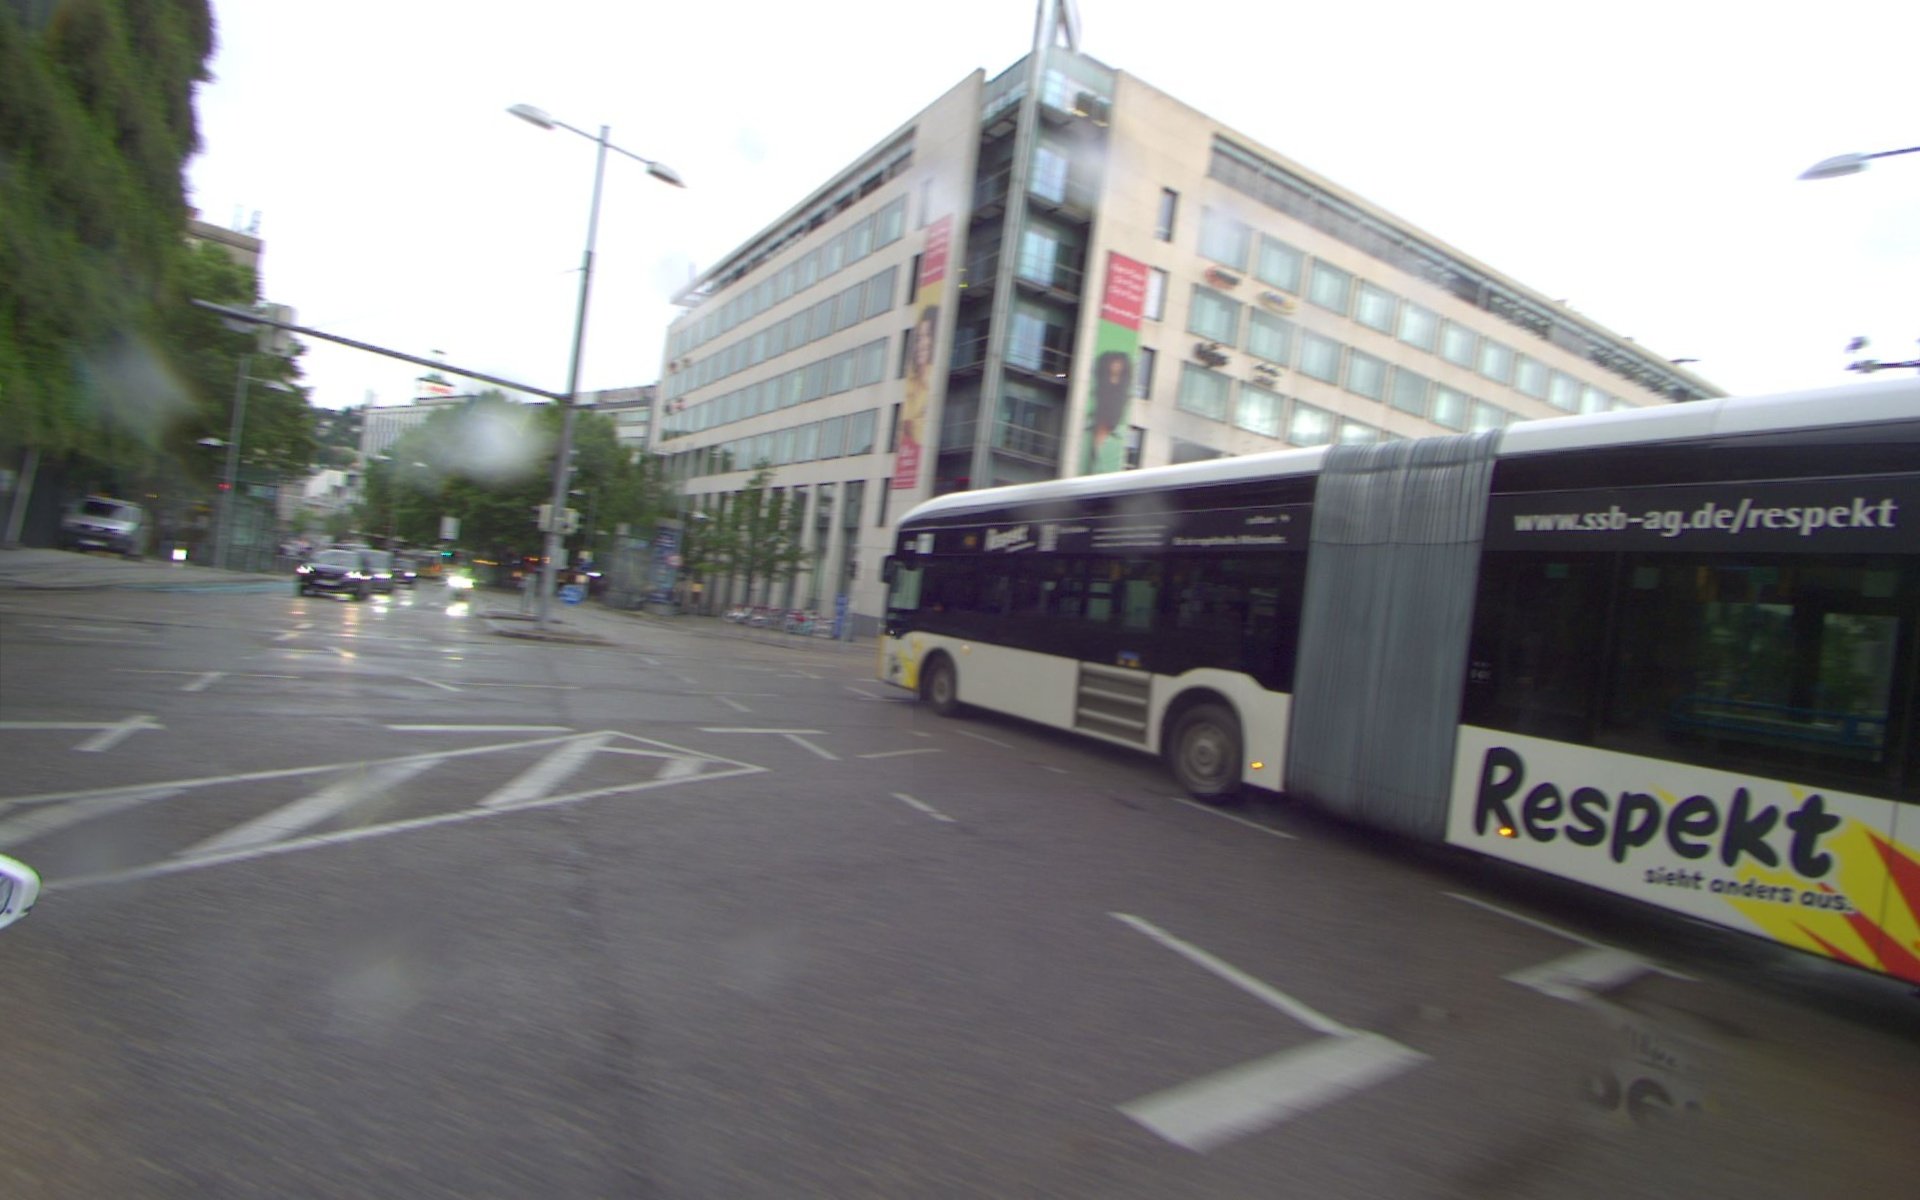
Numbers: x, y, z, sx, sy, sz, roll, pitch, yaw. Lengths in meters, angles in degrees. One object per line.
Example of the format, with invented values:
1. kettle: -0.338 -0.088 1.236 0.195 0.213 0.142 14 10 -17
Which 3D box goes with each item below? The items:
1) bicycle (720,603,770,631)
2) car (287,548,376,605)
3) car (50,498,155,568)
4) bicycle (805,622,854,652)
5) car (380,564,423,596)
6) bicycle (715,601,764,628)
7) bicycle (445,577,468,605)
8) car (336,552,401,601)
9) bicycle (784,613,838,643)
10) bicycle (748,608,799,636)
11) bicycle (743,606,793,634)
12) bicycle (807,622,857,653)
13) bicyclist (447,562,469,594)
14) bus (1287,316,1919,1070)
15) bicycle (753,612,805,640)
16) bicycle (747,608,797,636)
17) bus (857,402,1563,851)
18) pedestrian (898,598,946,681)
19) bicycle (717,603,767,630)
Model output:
1. bicycle: -10.758 0.861 50.307 2.322 1.111 0.486 8 -1 -29
2. car: -19.979 -0.716 32.122 1.805 1.516 4.179 7 -2 -25
3. car: -29.950 -2.304 35.306 2.100 1.979 4.826 8 -1 -34
4. bicycle: -5.715 1.621 44.003 1.971 1.111 0.488 7 -1 -16
5. car: -33.512 -1.196 60.438 1.805 1.655 4.472 7 -2 -25
6. bicycle: -11.329 0.728 51.697 2.322 1.111 0.486 8 -1 -29
7. bicycle: -23.315 -0.421 46.584 0.799 1.149 2.077 7 -2 -27
8. car: -25.365 -0.984 43.287 1.805 1.779 4.749 7 -2 -25
9. bicycle: -6.830 1.270 46.186 2.322 1.111 0.486 8 -1 -29
10. bicycle: -9.129 1.084 49.212 2.322 1.111 0.486 8 -1 -29
11. bicycle: -9.612 1.015 50.342 2.322 1.111 0.486 8 -1 -29
12. bicycle: -5.533 1.629 43.480 1.974 1.111 0.488 7 -1 -16
13. bicyclist: -23.233 -1.010 46.556 0.786 1.352 0.738 6 -1 -28
14. bus: 5.867 0.560 5.364 2.655 3.631 8.037 7 -1 -27
15. bicycle: -8.680 1.261 48.365 2.322 1.111 0.486 8 -1 -29
16. bicycle: -9.290 1.088 49.844 2.322 1.111 0.486 8 -1 -29
17. bus: 1.922 0.209 13.291 2.655 3.631 10.255 7 -1 -27
18. pedestrian: -0.944 0.988 25.248 0.811 1.960 0.709 6 0 17
19. bicycle: -10.997 0.848 50.760 2.322 1.111 0.486 8 -1 -29
